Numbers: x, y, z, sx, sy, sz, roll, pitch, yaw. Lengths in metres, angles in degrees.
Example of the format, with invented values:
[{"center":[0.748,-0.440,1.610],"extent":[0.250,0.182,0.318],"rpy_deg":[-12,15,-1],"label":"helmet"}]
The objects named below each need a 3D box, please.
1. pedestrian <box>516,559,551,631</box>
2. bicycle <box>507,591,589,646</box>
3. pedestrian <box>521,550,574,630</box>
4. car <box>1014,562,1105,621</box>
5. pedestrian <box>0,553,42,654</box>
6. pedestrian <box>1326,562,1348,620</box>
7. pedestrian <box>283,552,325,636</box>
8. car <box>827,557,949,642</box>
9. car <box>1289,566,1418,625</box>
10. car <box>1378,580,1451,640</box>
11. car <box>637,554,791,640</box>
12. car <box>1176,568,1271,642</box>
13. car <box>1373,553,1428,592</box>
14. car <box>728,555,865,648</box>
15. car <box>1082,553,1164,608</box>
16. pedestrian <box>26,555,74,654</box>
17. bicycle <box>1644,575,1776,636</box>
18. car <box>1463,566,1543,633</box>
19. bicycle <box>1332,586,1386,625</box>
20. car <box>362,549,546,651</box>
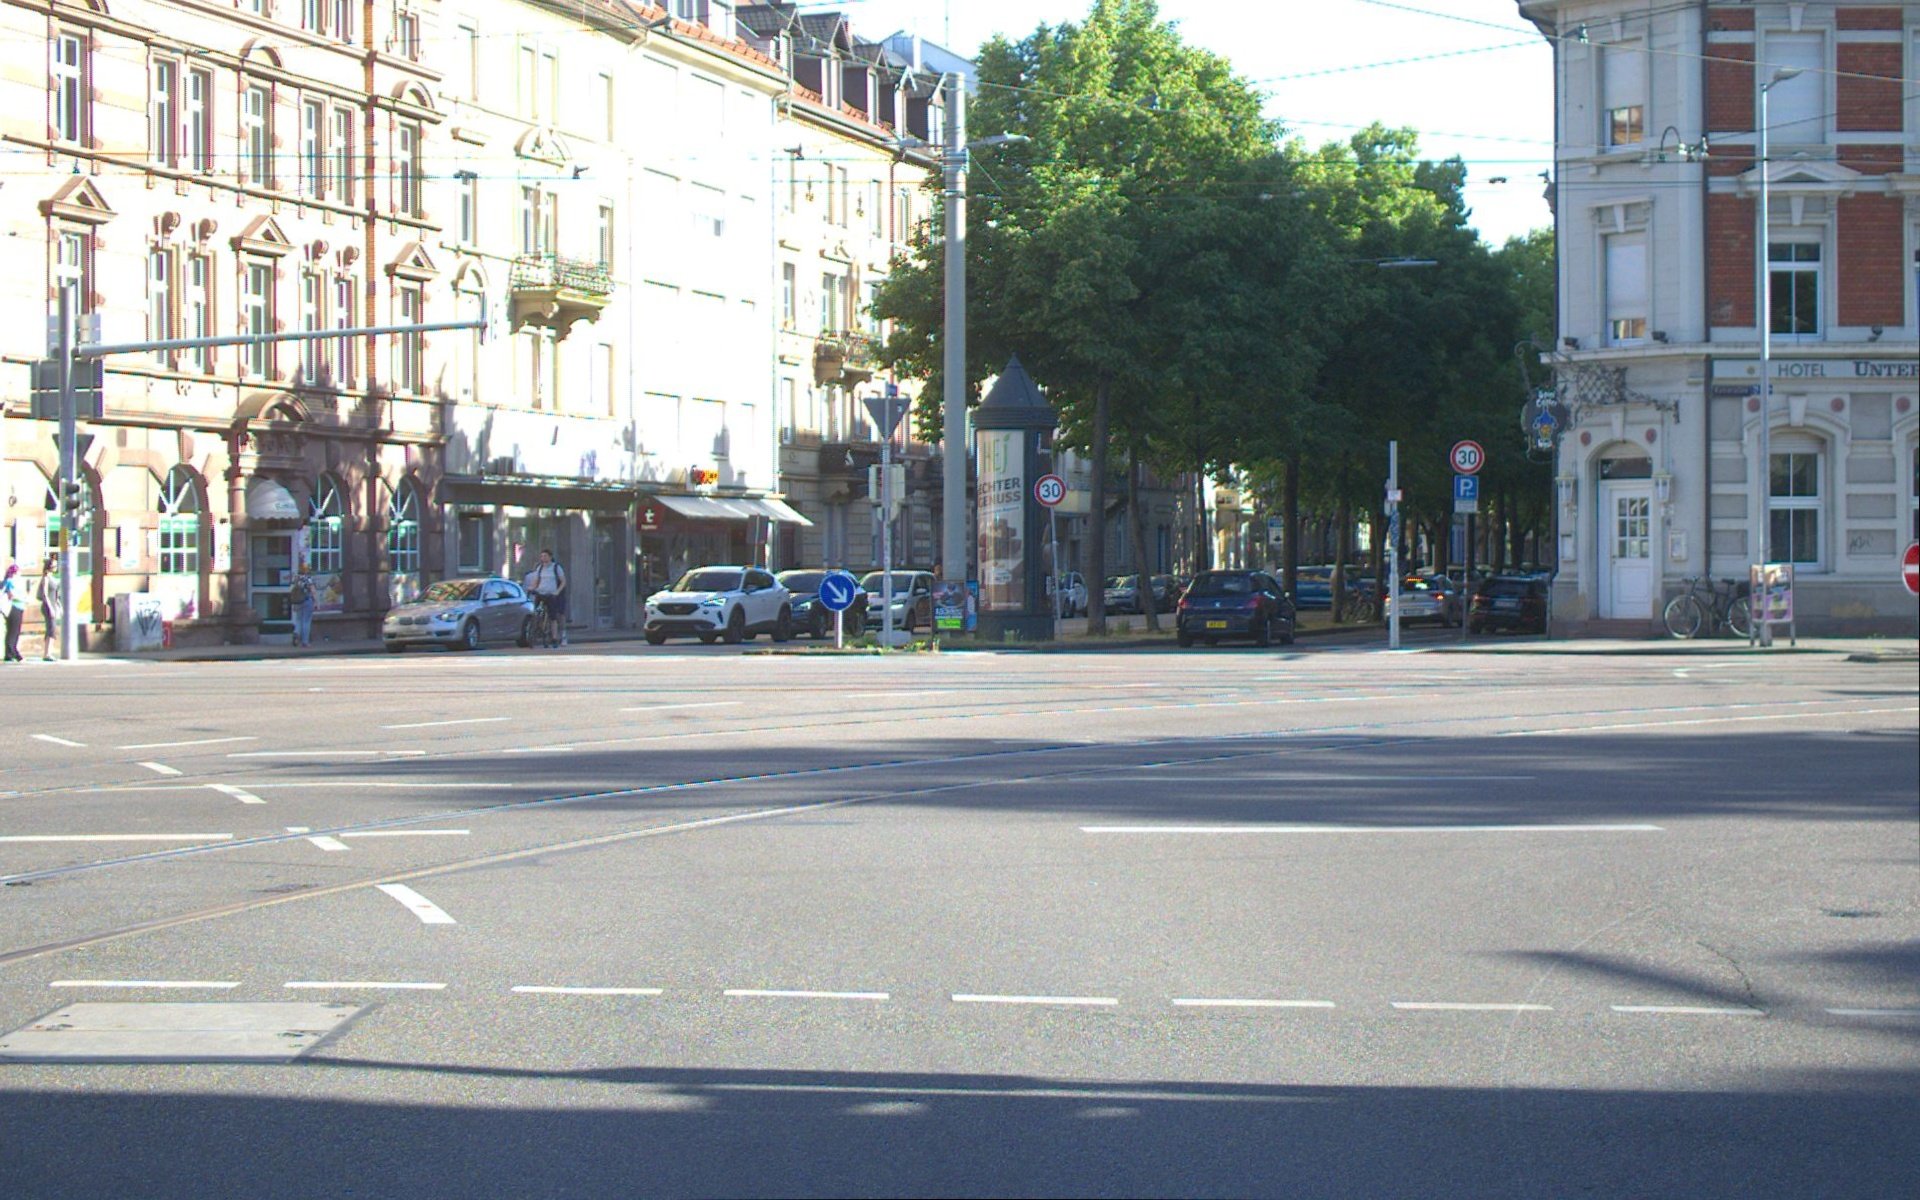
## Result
[{"center":[-9.623,-0.115,77.583],"extent":[0.544,1.626,0.706],"rpy_deg":[1,0,13],"label":"pedestrian"},{"center":[-7.817,0.333,65.294],"extent":[0.763,1.004,2.395],"rpy_deg":[1,1,13],"label":"bicycle"},{"center":[-7.830,-0.194,65.215],"extent":[0.821,1.507,0.598],"rpy_deg":[1,0,15],"label":"pedestrian"},{"center":[3.281,-0.287,112.710],"extent":[1.995,1.897,3.997],"rpy_deg":[1,1,17],"label":"car"},{"center":[-15.334,0.053,55.912],"extent":[0.633,1.628,0.701],"rpy_deg":[1,0,-4],"label":"pedestrian"},{"center":[11.894,-0.284,108.446],"extent":[0.640,1.790,0.490],"rpy_deg":[1,0,12],"label":"pedestrian"},{"center":[-12.864,-0.114,67.453],"extent":[0.544,1.626,0.706],"rpy_deg":[1,0,13],"label":"pedestrian"},{"center":[-1.637,-0.023,79.749],"extent":[1.994,1.897,3.998],"rpy_deg":[1,1,11],"label":"car"},{"center":[13.161,-0.173,114.980],"extent":[3.990,1.897,1.998],"rpy_deg":[1,1,16],"label":"car"},{"center":[12.084,0.250,91.522],"extent":[1.772,1.525,3.999],"rpy_deg":[1,1,6],"label":"car"},{"center":[-4.781,-0.074,67.416],"extent":[1.994,1.612,3.998],"rpy_deg":[1,1,11],"label":"car"},{"center":[5.087,0.080,66.456],"extent":[1.754,1.357,3.855],"rpy_deg":[1,1,4],"label":"car"},{"center":[17.267,-1.079,134.666],"extent":[1.560,1.508,3.653],"rpy_deg":[1,1,17],"label":"car"},{"center":[-3.463,0.012,73.727],"extent":[1.994,1.897,3.998],"rpy_deg":[1,1,11],"label":"car"},{"center":[5.829,-0.696,122.565],"extent":[1.995,1.897,3.997],"rpy_deg":[1,1,17],"label":"car"},{"center":[-15.137,0.072,57.217],"extent":[0.633,1.628,0.701],"rpy_deg":[1,0,-4],"label":"pedestrian"},{"center":[12.450,0.089,57.099],"extent":[2.049,0.994,0.630],"rpy_deg":[1,0,3],"label":"bicycle"},{"center":[13.066,-0.028,82.599],"extent":[1.692,1.559,3.839],"rpy_deg":[1,1,11],"label":"car"},{"center":[11.505,0.162,99.077],"extent":[0.626,1.081,1.703],"rpy_deg":[1,1,-31],"label":"bicycle"},{"center":[-9.838,-0.010,67.130],"extent":[1.995,1.897,3.997],"rpy_deg":[1,1,17],"label":"car"}]
